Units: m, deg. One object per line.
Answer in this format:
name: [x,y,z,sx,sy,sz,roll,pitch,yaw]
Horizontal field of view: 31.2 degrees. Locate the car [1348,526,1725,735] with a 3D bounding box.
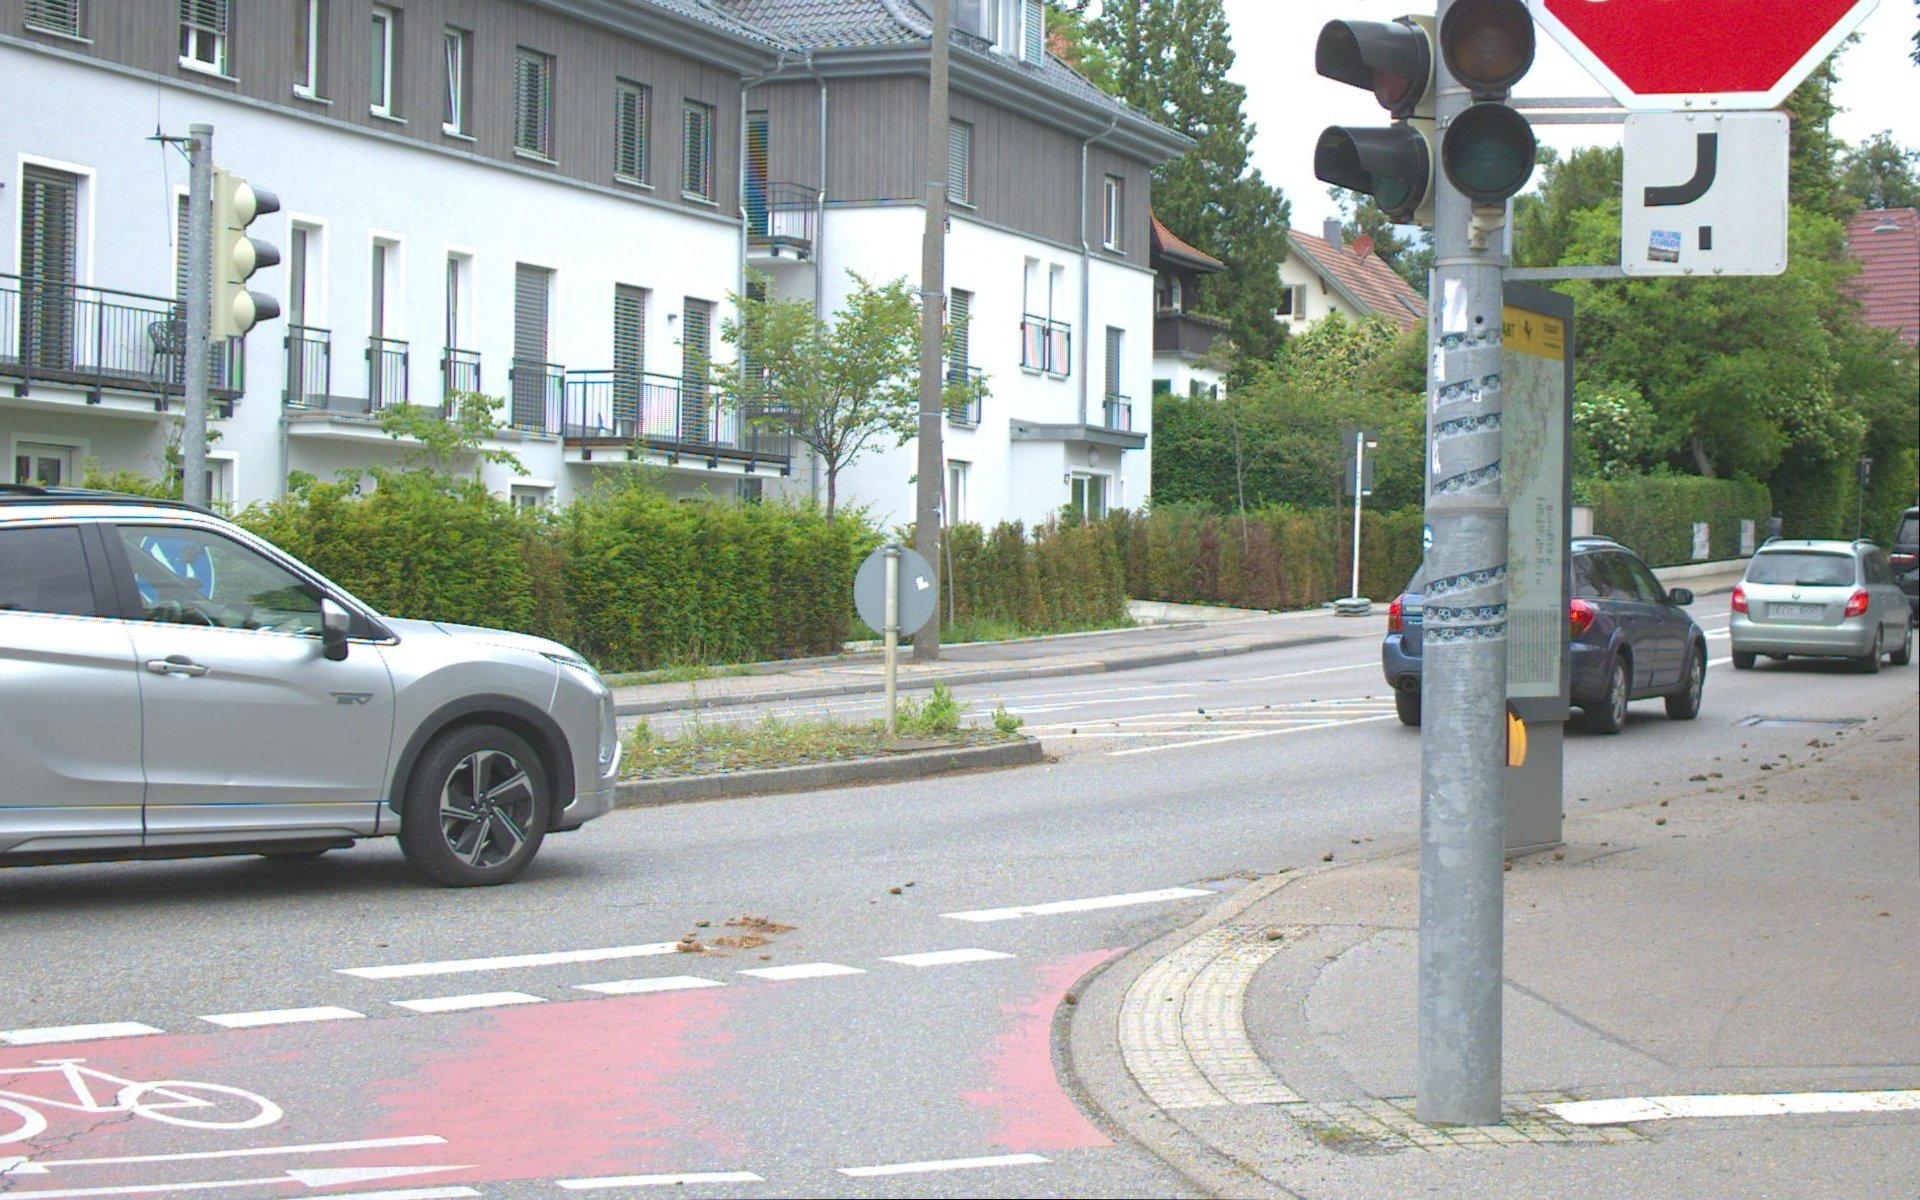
car: [4.723,0.183,27.577,1.802,1.522,4.737,0,1,25]

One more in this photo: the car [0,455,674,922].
car: [-3.542,0.311,14.119,4.474,1.747,1.812,-1,1,-40]

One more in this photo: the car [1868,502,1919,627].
car: [15.735,-0.570,54.653,1.921,1.887,4.903,3,2,21]

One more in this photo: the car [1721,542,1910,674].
car: [9.877,0.064,39.519,1.695,1.425,3.745,0,1,20]
